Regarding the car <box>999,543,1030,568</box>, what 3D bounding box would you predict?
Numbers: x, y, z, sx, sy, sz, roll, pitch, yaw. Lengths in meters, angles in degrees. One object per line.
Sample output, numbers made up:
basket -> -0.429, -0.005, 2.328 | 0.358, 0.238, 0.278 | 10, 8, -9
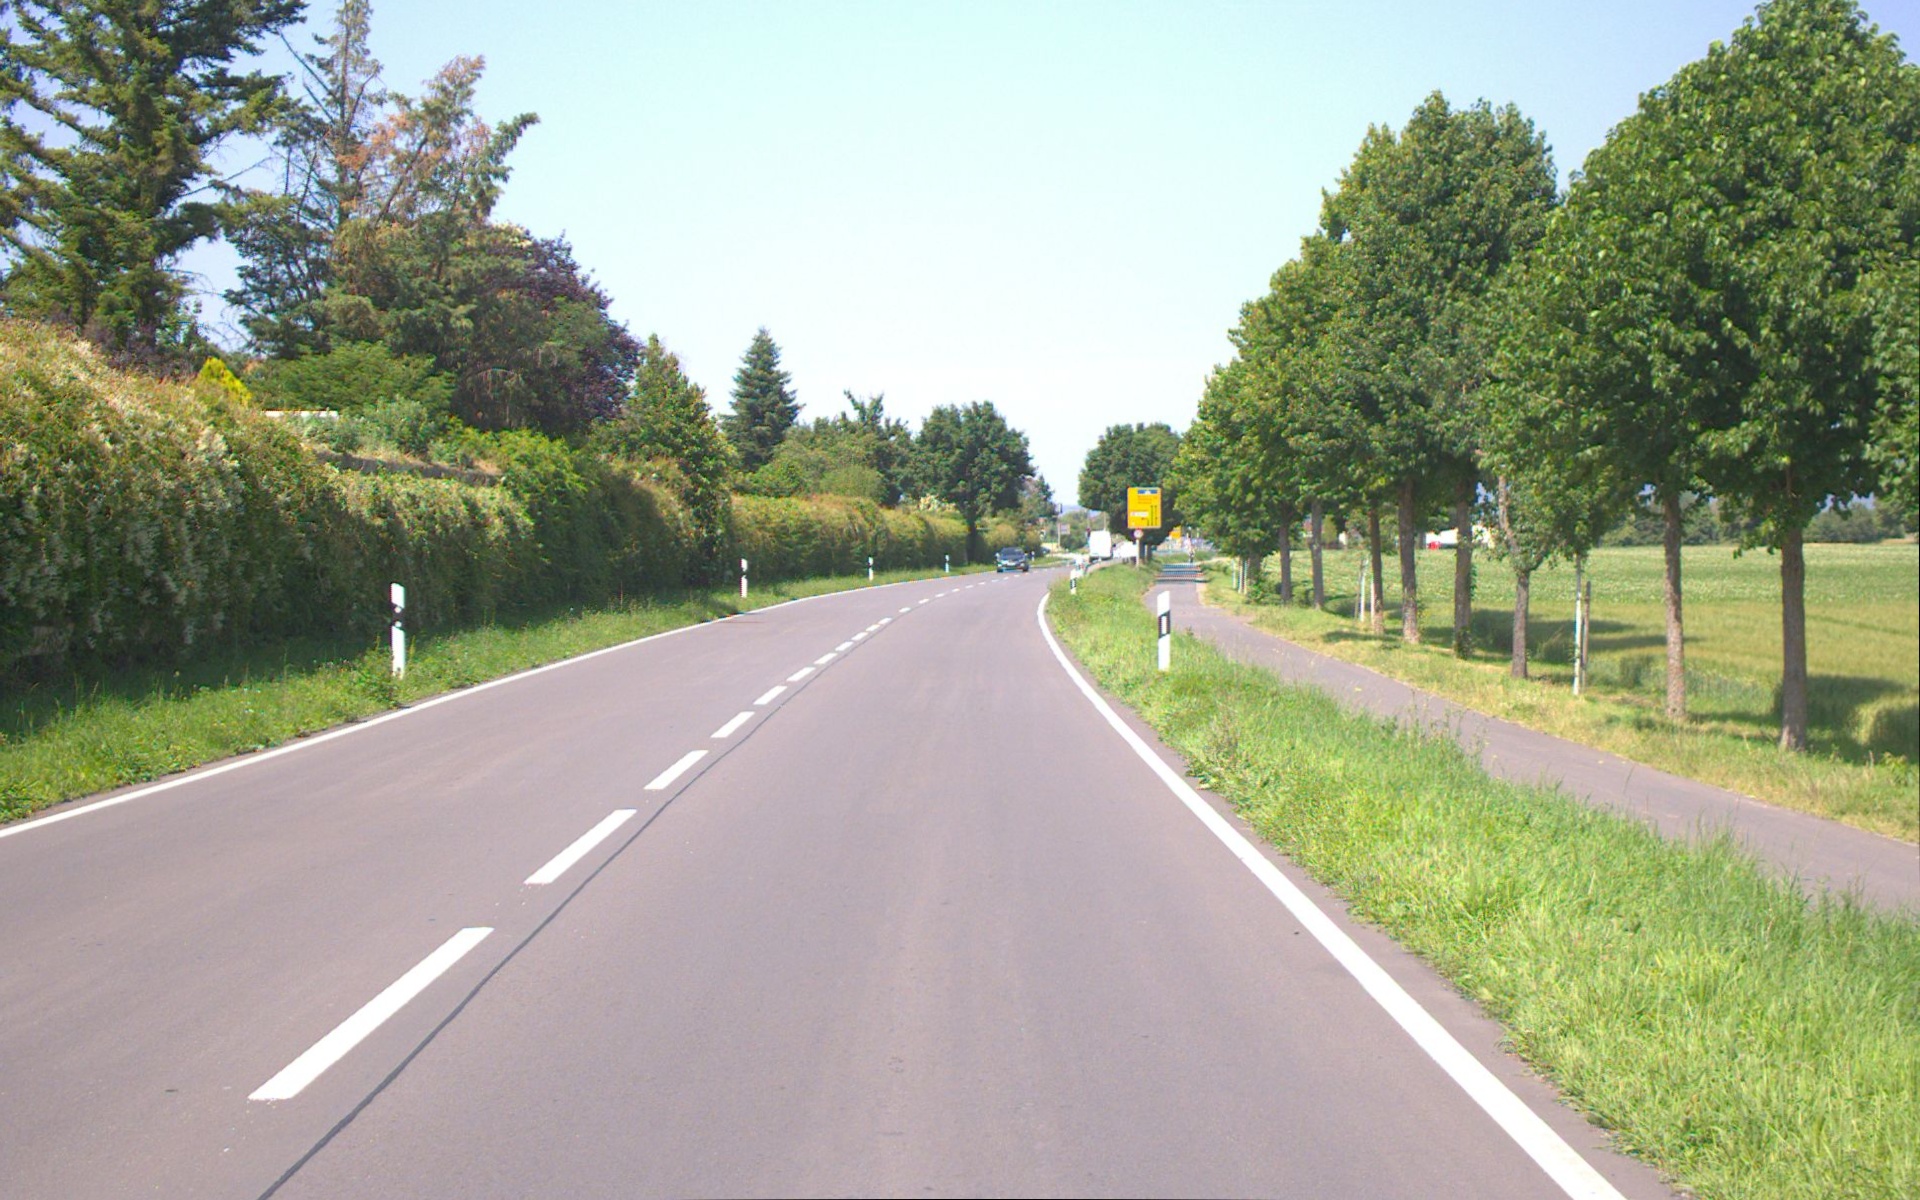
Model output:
car -> 3.253, -2.703, 206.742 | 1.840, 1.462, 3.933 | 0, 1, 0
